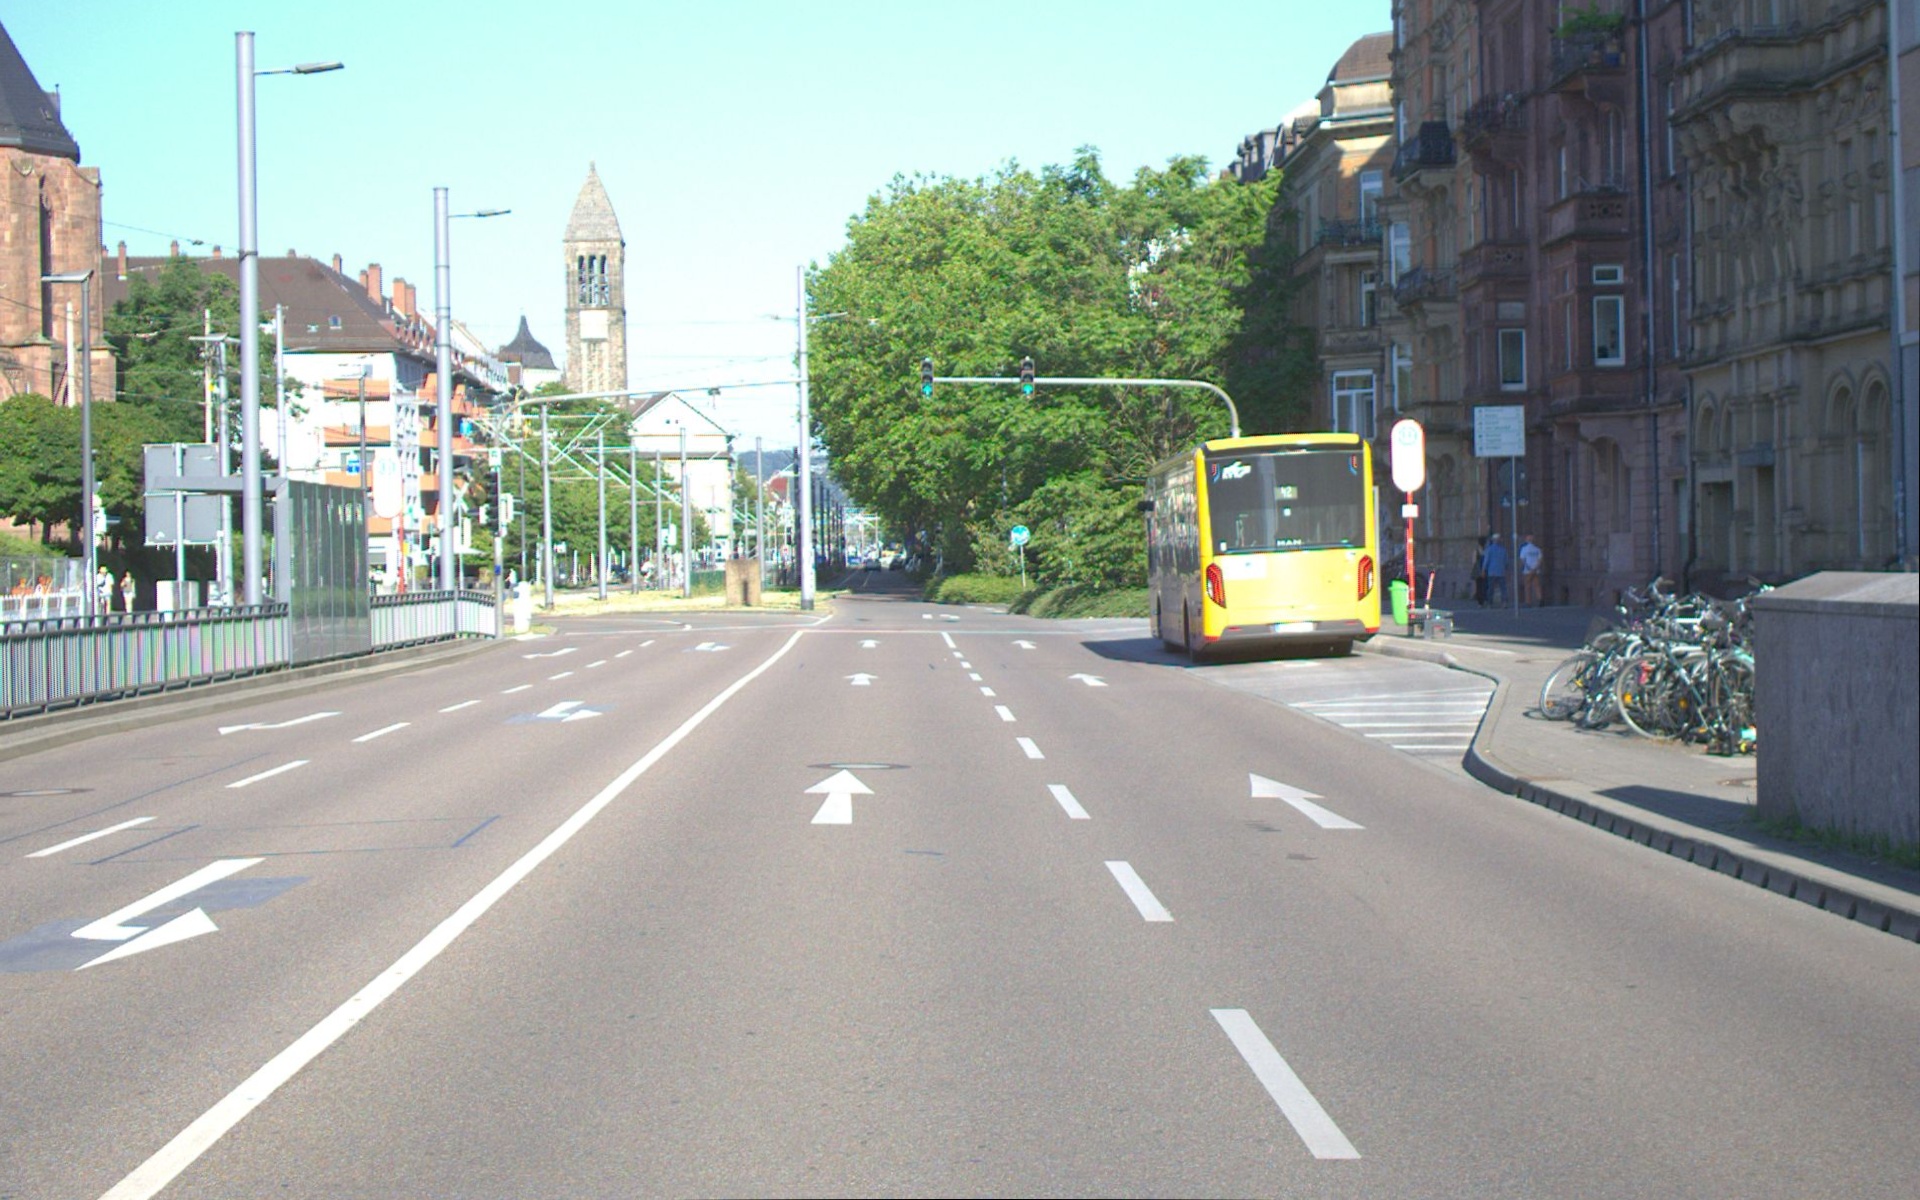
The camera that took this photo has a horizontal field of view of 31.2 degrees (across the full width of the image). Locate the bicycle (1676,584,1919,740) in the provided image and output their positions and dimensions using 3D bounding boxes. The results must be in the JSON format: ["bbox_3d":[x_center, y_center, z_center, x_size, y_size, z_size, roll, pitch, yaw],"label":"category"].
[{"bbox_3d":[6.474,0.473,26.613,1.765,1.174,0.470,0,2,-1],"label":"bicycle"}]

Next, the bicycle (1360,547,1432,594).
[{"bbox_3d":[12.170,-0.813,96.013,1.883,1.234,0.491,-2,-1,-13],"label":"bicycle"}]

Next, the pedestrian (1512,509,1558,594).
[{"bbox_3d":[13.174,-1.107,78.788,0.822,1.923,1.137,-1,1,-1],"label":"pedestrian"}]

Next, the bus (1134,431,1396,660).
[{"bbox_3d":[4.648,-0.867,55.062,2.715,3.170,12.542,-2,1,-1],"label":"bus"}]

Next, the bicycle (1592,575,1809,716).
[{"bbox_3d":[6.375,0.389,29.646,1.765,1.183,0.470,0,2,-1],"label":"bicycle"}]

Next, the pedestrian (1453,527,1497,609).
[{"bbox_3d":[12.192,-0.767,81.443,0.822,1.923,1.137,-1,1,-1],"label":"pedestrian"}]

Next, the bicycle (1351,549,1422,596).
[{"bbox_3d":[12.046,-0.776,97.167,1.883,1.234,0.491,-2,-1,-13],"label":"bicycle"}]

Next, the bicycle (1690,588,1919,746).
[{"bbox_3d":[6.482,0.503,26.112,1.765,1.174,0.470,0,2,-1],"label":"bicycle"}]

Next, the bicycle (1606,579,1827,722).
[{"bbox_3d":[6.403,0.421,29.141,1.765,1.183,0.470,0,2,-1],"label":"bicycle"}]

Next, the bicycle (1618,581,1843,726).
[{"bbox_3d":[6.415,0.439,28.638,1.765,1.183,0.470,0,2,-1],"label":"bicycle"}]

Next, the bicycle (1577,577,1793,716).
[{"bbox_3d":[6.346,0.403,30.137,1.791,1.183,0.470,0,2,-1],"label":"bicycle"}]

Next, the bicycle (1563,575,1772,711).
[{"bbox_3d":[6.298,0.377,30.639,1.765,1.183,0.470,0,2,-1],"label":"bicycle"}]

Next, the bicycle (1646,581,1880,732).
[{"bbox_3d":[6.443,0.450,27.612,1.765,1.183,0.470,0,2,-1],"label":"bicycle"}]

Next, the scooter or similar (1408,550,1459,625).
[{"bbox_3d":[8.080,-0.213,58.699,0.431,1.245,1.295,-3,0,-11],"label":"scooter or similar"}]

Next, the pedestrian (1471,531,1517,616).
[{"bbox_3d":[12.233,-0.603,78.771,0.822,1.923,1.137,-1,1,-1],"label":"pedestrian"}]

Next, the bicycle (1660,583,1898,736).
[{"bbox_3d":[6.451,0.464,27.112,1.765,1.183,0.470,0,2,-1],"label":"bicycle"}]

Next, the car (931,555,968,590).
[{"bbox_3d":[-0.504,-1.298,161.045,1.643,1.506,4.183,-2,1,-1],"label":"car"}]

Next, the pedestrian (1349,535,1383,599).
[{"bbox_3d":[10.512,-0.861,89.046,0.702,1.650,1.137,-1,1,-1],"label":"pedestrian"}]

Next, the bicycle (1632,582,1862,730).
[{"bbox_3d":[6.431,0.453,28.119,1.765,1.183,0.470,0,2,-1],"label":"bicycle"}]

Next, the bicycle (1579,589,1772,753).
[{"bbox_3d":[5.356,0.516,25.838,0.468,1.143,1.771,-1,2,-24],"label":"bicycle"}]

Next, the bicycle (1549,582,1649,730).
[{"bbox_3d":[5.292,0.446,28.548,0.468,1.143,1.771,0,2,-1],"label":"bicycle"}]
